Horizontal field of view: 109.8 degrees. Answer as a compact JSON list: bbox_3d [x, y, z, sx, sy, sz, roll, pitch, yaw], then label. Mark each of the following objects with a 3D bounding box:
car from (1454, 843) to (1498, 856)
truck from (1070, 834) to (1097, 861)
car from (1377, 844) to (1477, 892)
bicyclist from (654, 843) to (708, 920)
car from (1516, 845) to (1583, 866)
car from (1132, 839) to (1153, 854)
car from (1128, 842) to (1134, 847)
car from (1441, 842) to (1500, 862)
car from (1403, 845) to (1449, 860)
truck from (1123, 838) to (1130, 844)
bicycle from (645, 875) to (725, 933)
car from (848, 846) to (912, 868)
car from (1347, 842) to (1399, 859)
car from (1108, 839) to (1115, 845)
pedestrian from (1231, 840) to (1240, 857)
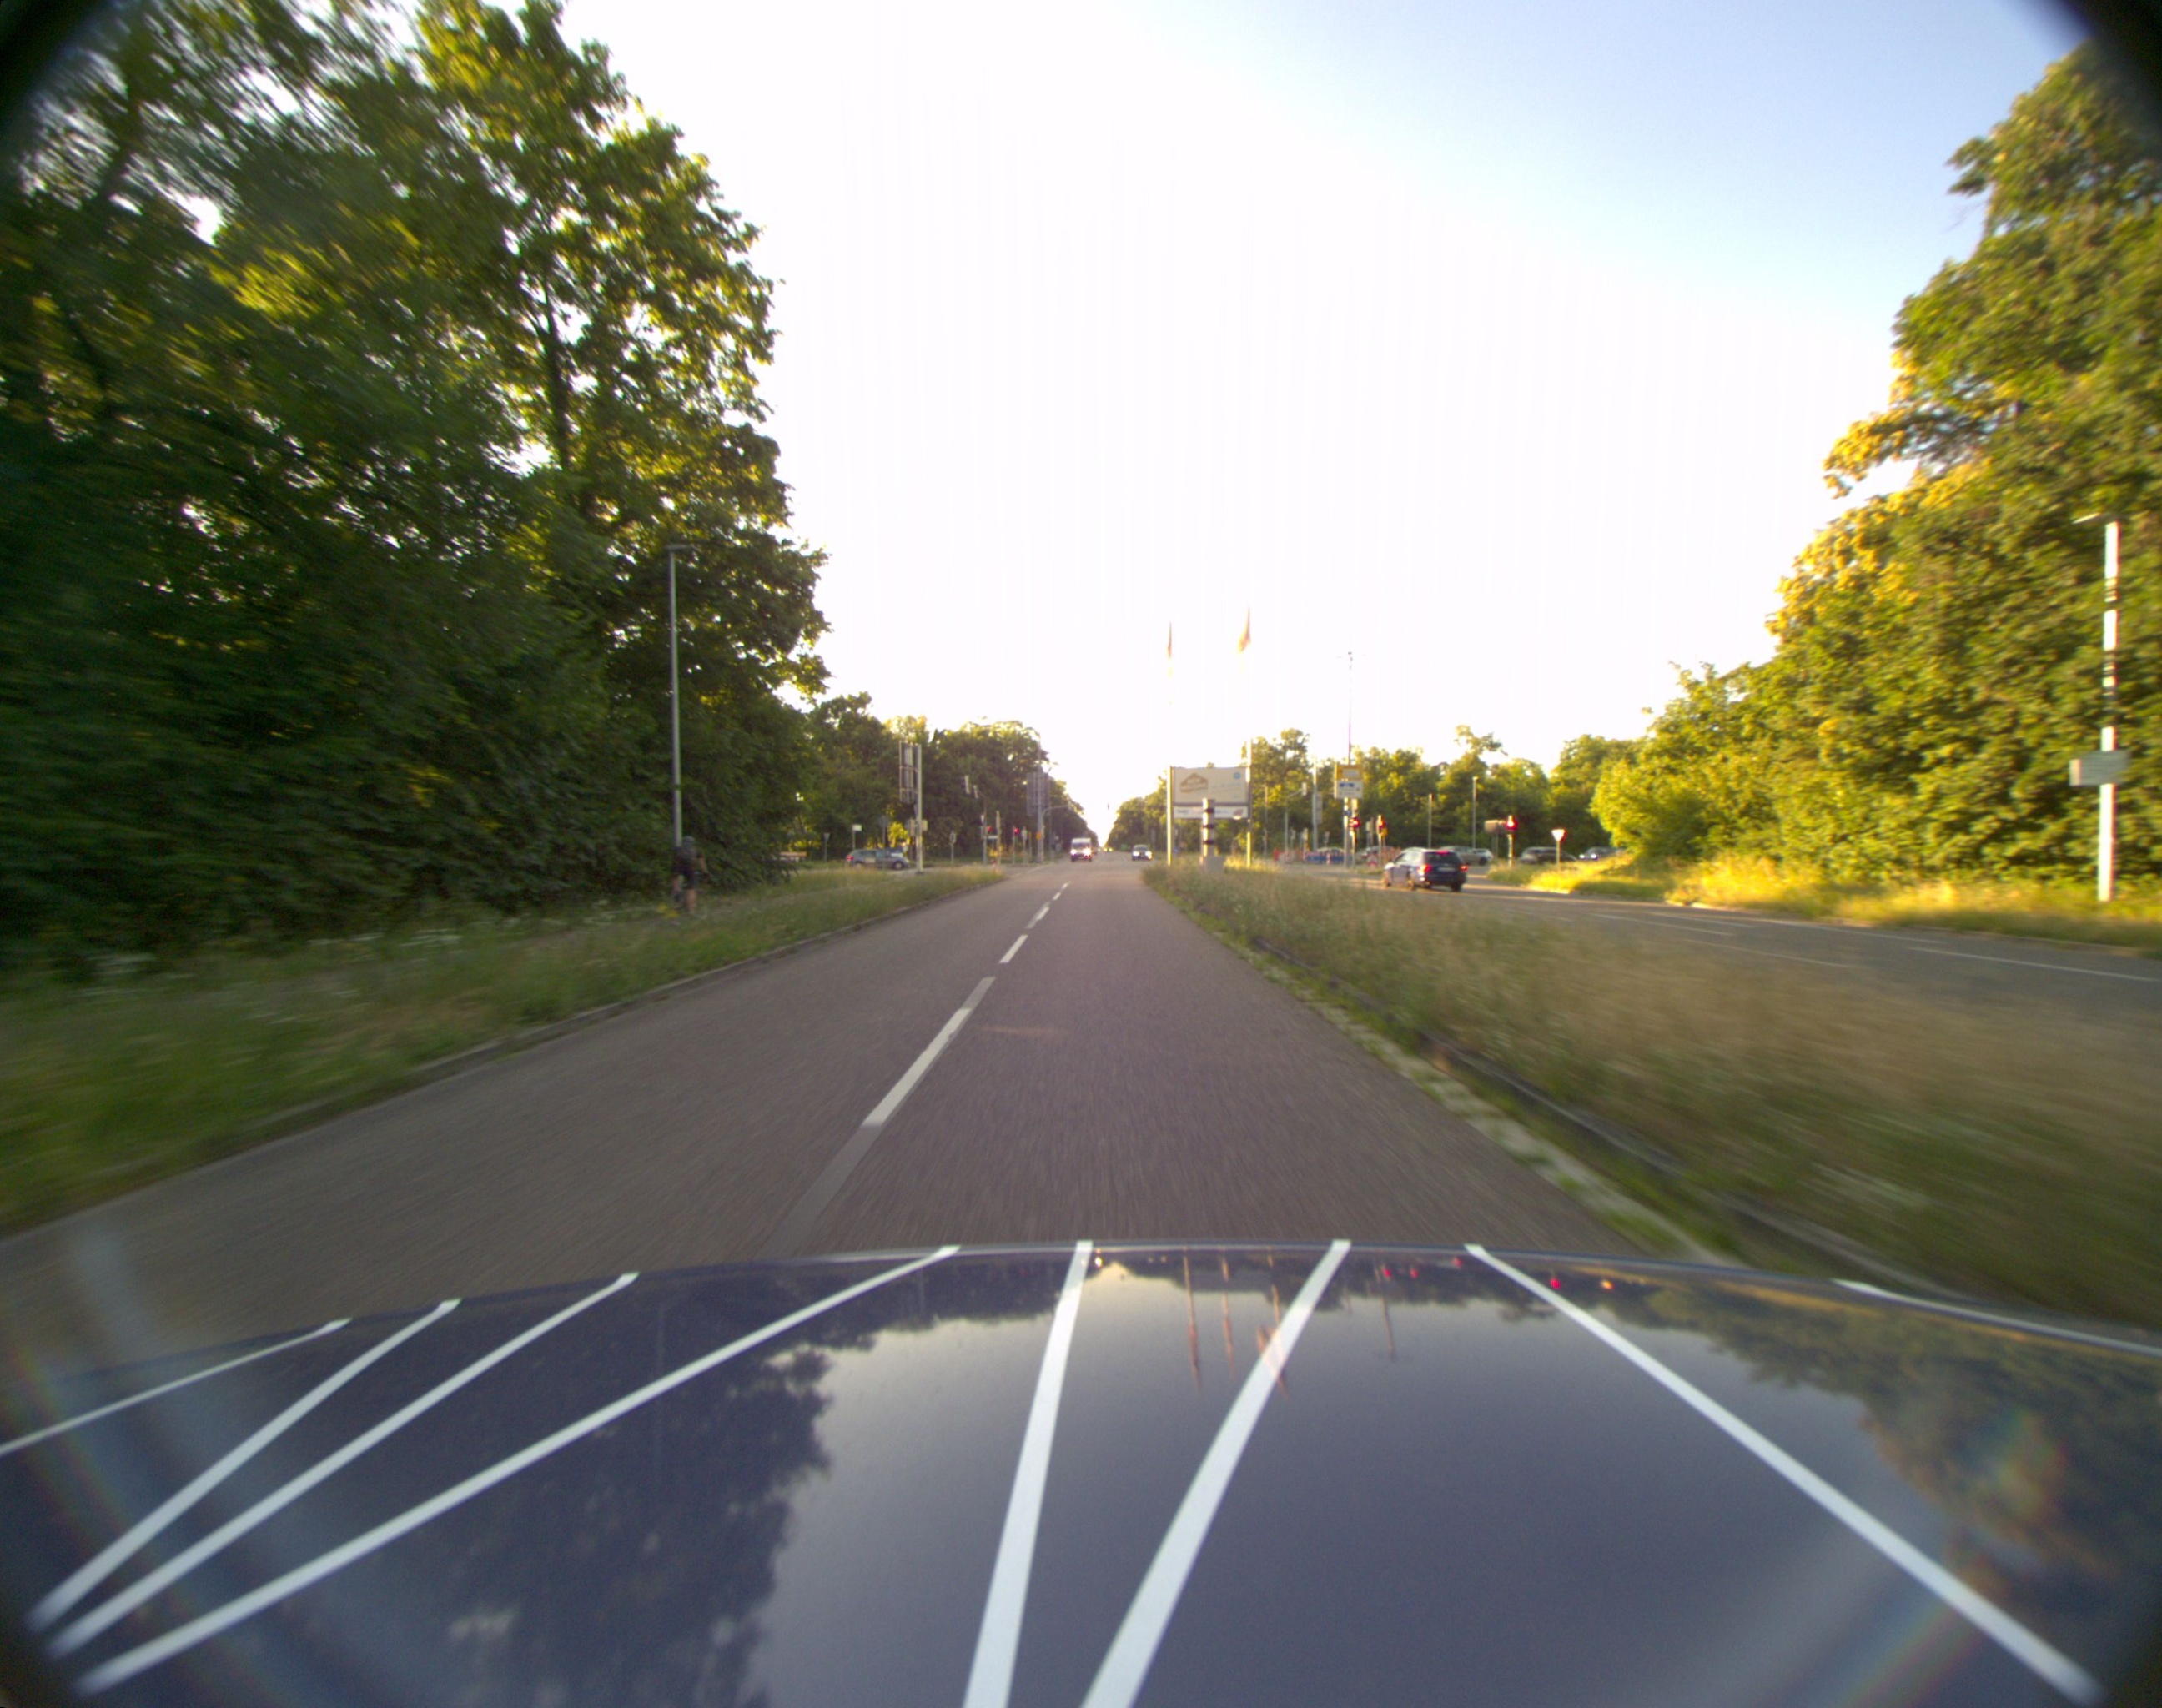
[{"bbox_3d":[43.861,-0.502,84.384,4.235,1.447,1.719,-1,1,-15],"label":"car"},{"bbox_3d":[0.226,-0.704,79.380,2.603,2.542,6.022,-3,1,0],"label":"truck"},{"bbox_3d":[12.359,0.441,27.492,1.823,1.525,4.456,2,1,4],"label":"car"},{"bbox_3d":[-7.715,0.521,14.684,0.604,1.447,0.780,0,1,2],"label":"bicyclist"},{"bbox_3d":[39.596,0.126,64.259,4.824,1.652,2.009,-1,3,-15],"label":"car"},{"bbox_3d":[6.552,-0.802,81.350,2.001,1.511,3.999,0,1,2],"label":"car"},{"bbox_3d":[14.479,-2.867,220.652,1.663,1.320,4.045,0,3,0],"label":"car"},{"bbox_3d":[33.137,-0.205,64.708,4.400,1.615,1.996,-1,1,-20],"label":"car"},{"bbox_3d":[35.683,-0.148,78.588,4.235,1.447,1.719,-1,1,-15],"label":"car"},{"bbox_3d":[14.523,-4.243,245.093,1.999,2.109,3.999,0,1,0],"label":"truck"},{"bbox_3d":[-7.761,0.957,14.971,0.612,0.990,1.691,0,2,2],"label":"bicycle"},{"bbox_3d":[-13.793,0.199,52.170,4.080,1.398,1.868,-1,3,-22],"label":"car"},{"bbox_3d":[26.676,-0.345,69.344,4.235,1.447,1.719,-1,1,-15],"label":"car"},{"bbox_3d":[8.931,-3.598,224.096,1.846,1.587,4.206,0,3,1],"label":"car"},{"bbox_3d":[16.076,-0.584,78.834,0.750,1.790,0.575,-1,1,-7],"label":"pedestrian"}]
